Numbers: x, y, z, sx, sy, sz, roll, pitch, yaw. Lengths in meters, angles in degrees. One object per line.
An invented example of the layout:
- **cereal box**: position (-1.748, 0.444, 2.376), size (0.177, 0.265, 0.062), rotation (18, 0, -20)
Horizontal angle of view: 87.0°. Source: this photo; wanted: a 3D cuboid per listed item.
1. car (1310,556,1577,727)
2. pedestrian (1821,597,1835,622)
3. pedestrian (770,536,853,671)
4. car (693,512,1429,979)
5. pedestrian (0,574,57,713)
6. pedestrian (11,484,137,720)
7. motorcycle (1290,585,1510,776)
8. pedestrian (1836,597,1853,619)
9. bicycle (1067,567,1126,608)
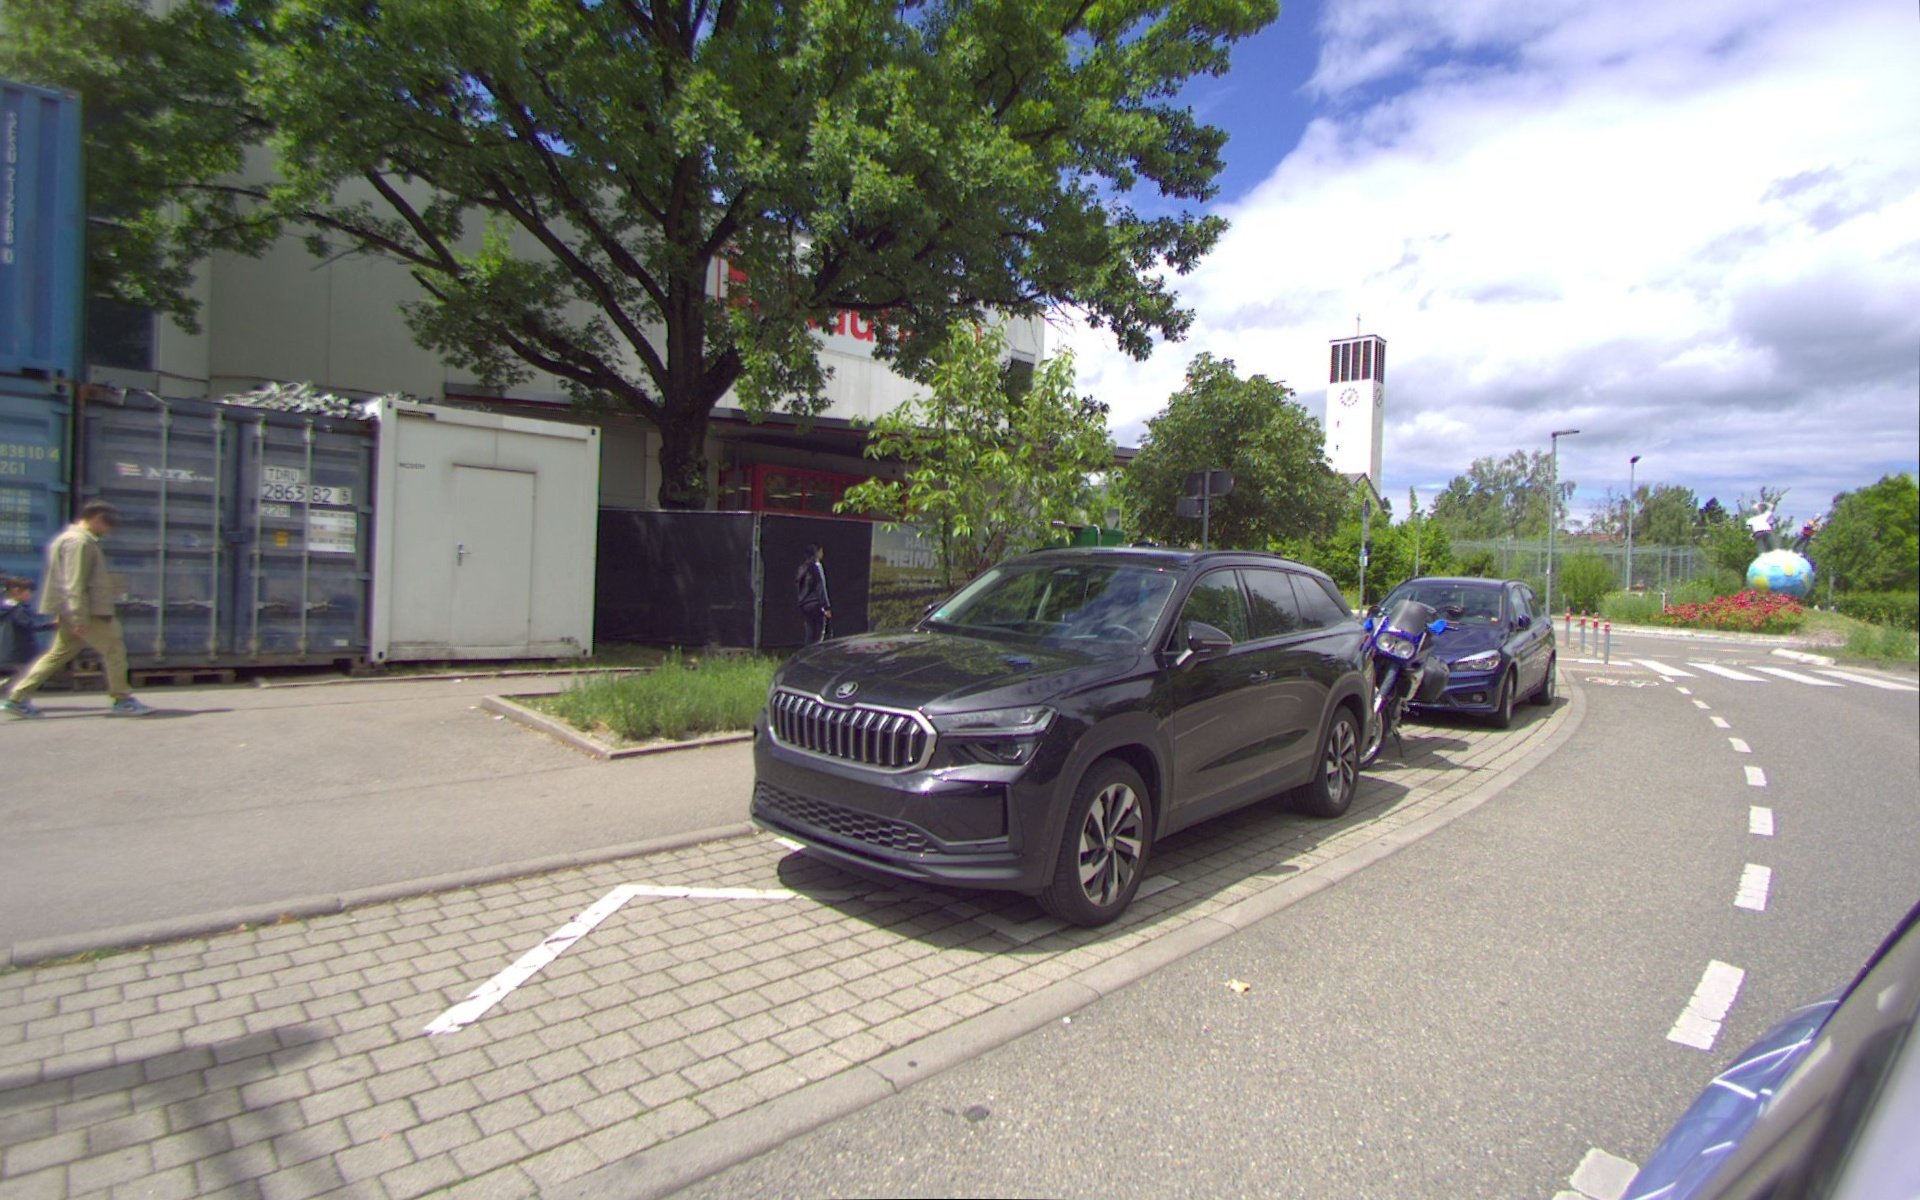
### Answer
- **car**: position (5.934, 0.354, 12.128), size (1.914, 1.597, 4.369), rotation (4, 3, 38)
- **pedestrian**: position (61.537, 0.667, 71.758), size (0.603, 1.718, 0.560), rotation (2, 1, 33)
- **pedestrian**: position (-1.881, 0.032, 12.807), size (0.754, 1.638, 0.744), rotation (0, 1, -41)
- **car**: position (1.014, 0.437, 5.972), size (1.878, 1.641, 4.775), rotation (4, 3, 41)
- **pedestrian**: position (-7.514, 0.332, 7.998), size (0.557, 1.071, 0.412), rotation (0, 1, -41)
- **pedestrian**: position (-6.855, 0.003, 7.851), size (0.712, 1.717, 0.652), rotation (0, 1, -41)
- **motorcycle**: position (3.780, 0.573, 8.570), size (1.070, 1.321, 2.228), rotation (6, 4, 39)
- **pedestrian**: position (62.439, 0.558, 71.441), size (0.759, 1.577, 0.595), rotation (1, 1, 33)
- **bicycle**: position (4.305, -0.391, 31.808), size (1.748, 1.249, 0.711), rotation (1, 1, 16)
